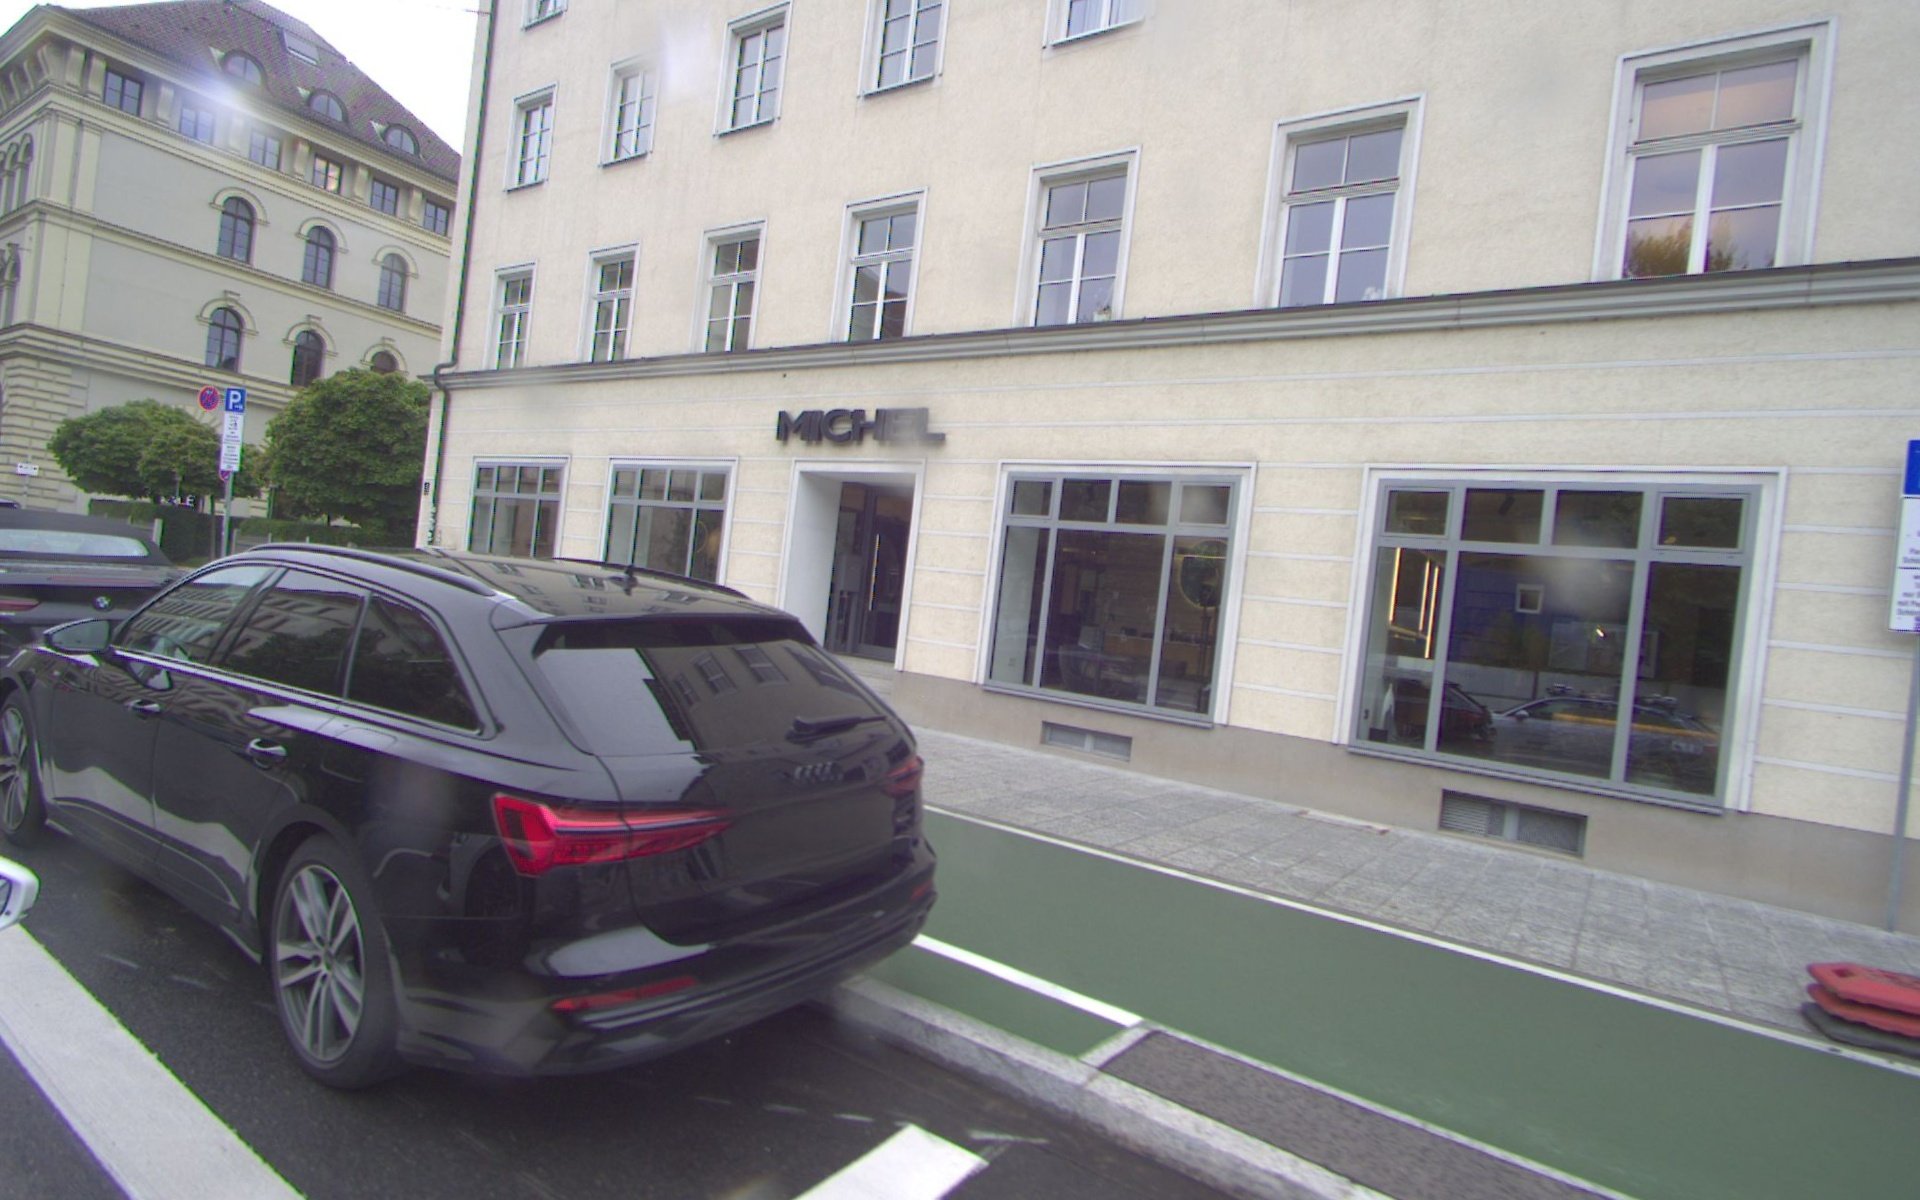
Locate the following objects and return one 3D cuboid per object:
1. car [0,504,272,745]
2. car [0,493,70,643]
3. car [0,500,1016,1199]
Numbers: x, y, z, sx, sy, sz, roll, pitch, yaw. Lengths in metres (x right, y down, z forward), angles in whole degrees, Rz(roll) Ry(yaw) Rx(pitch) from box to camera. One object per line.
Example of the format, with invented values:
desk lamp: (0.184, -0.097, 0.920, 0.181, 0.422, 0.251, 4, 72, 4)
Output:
car: (-7.330, -0.006, 7.742, 4.647, 1.423, 1.827, 7, -2, 36)
car: (-11.799, -0.562, 11.413, 3.770, 1.538, 1.676, 7, -2, 36)
car: (-2.169, 0.518, 4.056, 4.390, 1.501, 1.807, 7, 3, 34)
